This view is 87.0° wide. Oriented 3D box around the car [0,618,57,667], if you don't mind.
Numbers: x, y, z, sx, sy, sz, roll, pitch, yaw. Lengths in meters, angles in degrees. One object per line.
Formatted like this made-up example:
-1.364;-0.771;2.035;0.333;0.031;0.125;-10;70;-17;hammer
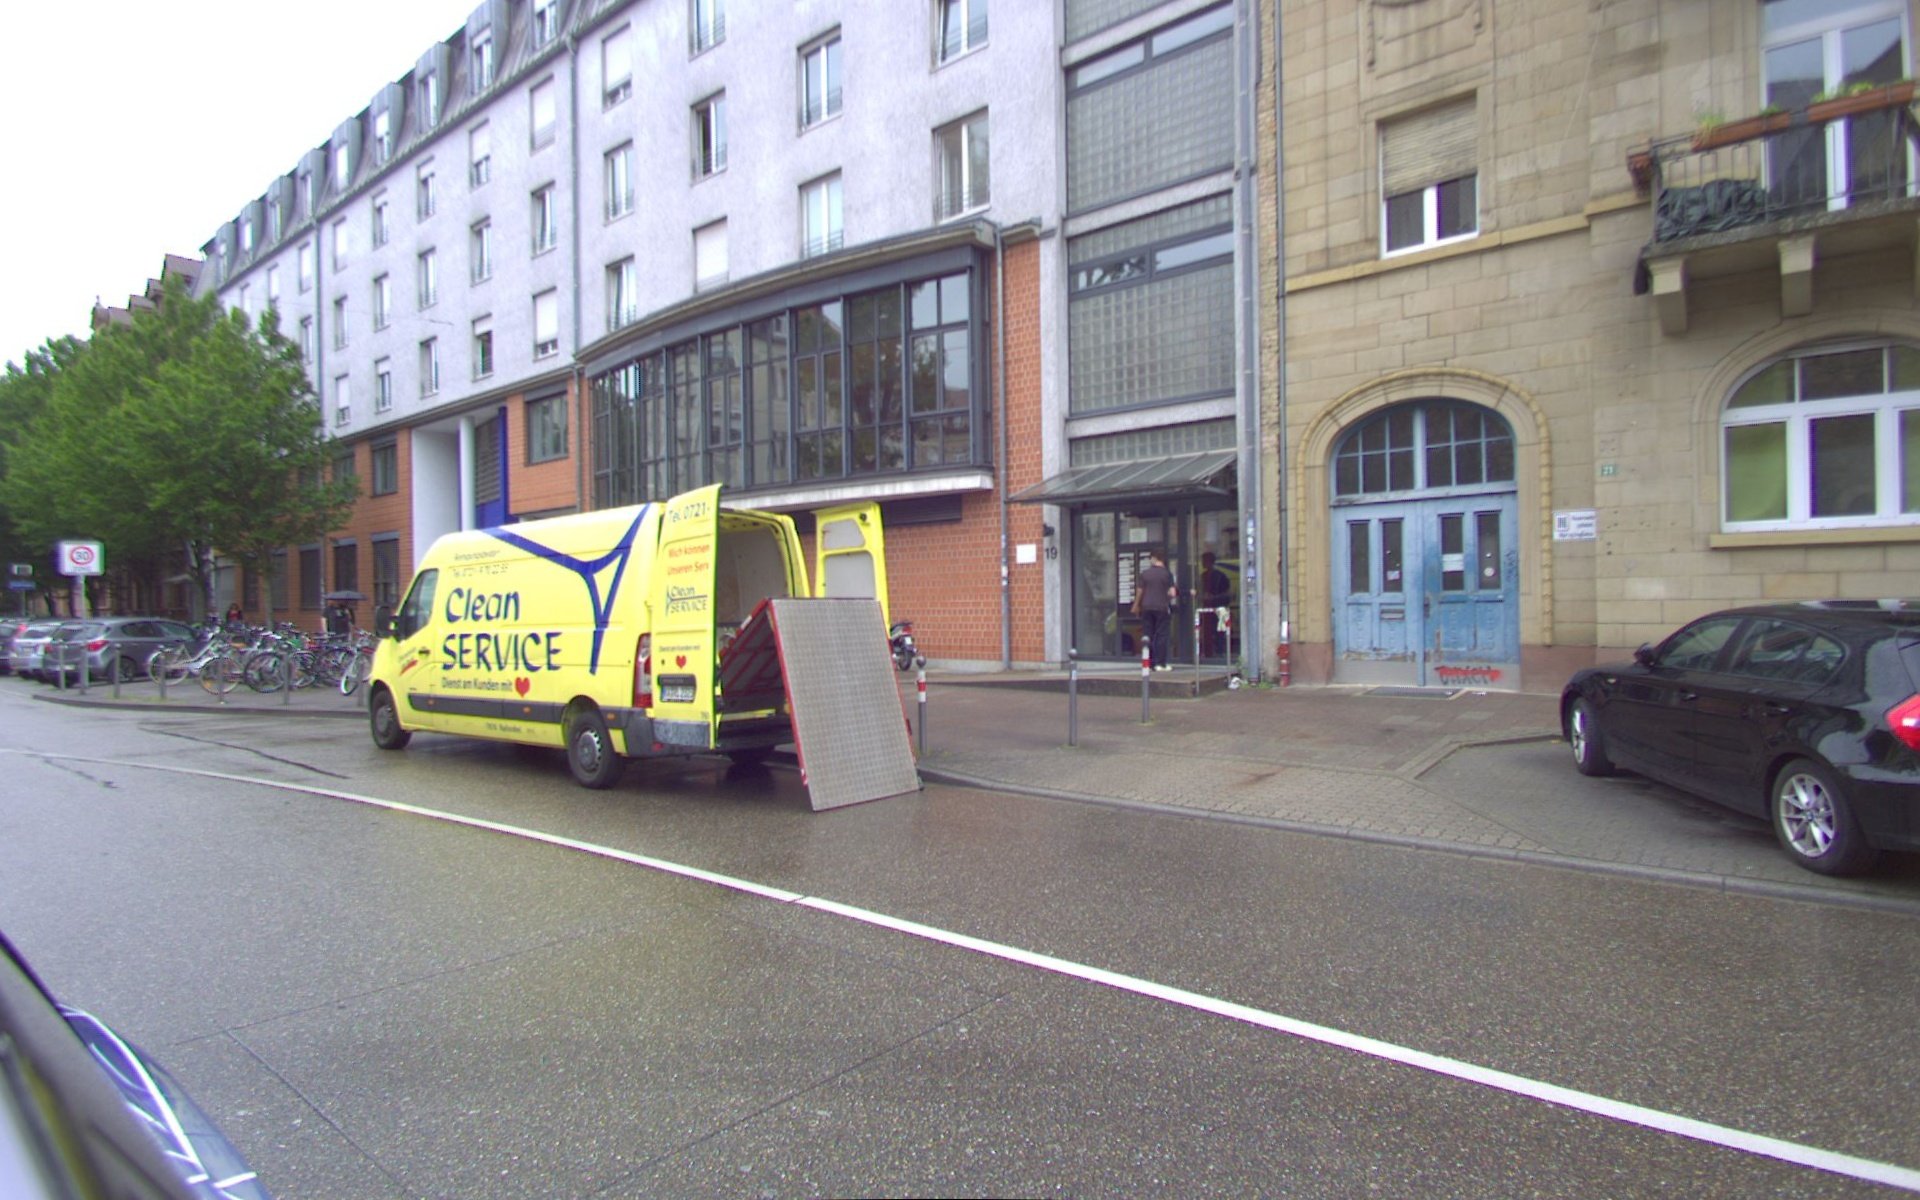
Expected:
-32.140;1.443;33.902;1.138;1.567;2.672;-2;0;11;car

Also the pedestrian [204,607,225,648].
-29.630;1.097;40.219;0.372;1.622;0.598;-1;-1;39;pedestrian

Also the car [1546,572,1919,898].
5.593;0.645;6.430;1.777;1.523;4.034;-1;-1;7;car

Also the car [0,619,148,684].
-23.351;1.309;26.679;1.432;1.514;3.078;-2;0;0;car

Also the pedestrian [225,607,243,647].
-29.114;1.078;40.573;0.425;1.622;0.508;-2;-1;41;pedestrian

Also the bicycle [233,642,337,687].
-13.614;1.288;20.467;0.455;0.767;1.757;-1;1;27;bicycle

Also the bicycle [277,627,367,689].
-12.393;1.111;19.673;1.439;1.111;0.462;-2;1;-36;bicycle

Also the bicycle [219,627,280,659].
-22.912;1.378;32.655;0.444;0.992;1.573;-1;-1;32;bicycle

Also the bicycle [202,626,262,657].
-24.367;1.389;33.899;0.444;0.992;1.573;-1;-1;32;bicycle

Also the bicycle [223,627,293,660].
-22.473;1.375;32.443;0.444;0.992;1.830;-1;-1;32;bicycle

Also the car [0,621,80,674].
-28.166;1.403;30.451;1.177;1.461;2.502;-2;0;0;car

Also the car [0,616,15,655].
-47.849;1.728;48.214;1.666;1.910;4.330;0;-1;-1;car

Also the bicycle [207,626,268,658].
-23.794;1.385;33.350;0.444;0.992;1.573;-1;-1;32;bicycle

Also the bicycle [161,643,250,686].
-16.240;1.373;21.800;0.497;0.811;1.454;-1;1;43;bicycle

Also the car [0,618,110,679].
-25.765;1.326;28.289;1.432;1.564;3.078;-2;0;0;car

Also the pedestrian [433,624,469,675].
-11.173;1.084;22.218;0.527;1.058;0.479;-2;3;39;pedestrian

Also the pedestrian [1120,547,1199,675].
2.844;0.158;14.397;0.785;1.741;0.997;-1;-1;31;pedestrian

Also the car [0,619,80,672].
-30.034;1.444;32.124;1.358;1.567;2.971;-2;0;11;car

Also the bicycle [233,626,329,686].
-14.049;1.137;20.975;0.517;1.114;1.596;-1;1;27;bicycle

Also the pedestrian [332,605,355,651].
-20.830;0.942;34.183;0.547;1.541;0.509;-1;-2;37;pedestrian

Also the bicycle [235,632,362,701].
-11.910;1.168;18.261;1.832;1.081;0.610;-2;1;-44;bicycle

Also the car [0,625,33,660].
-42.561;1.859;43.916;1.662;1.502;3.798;0;-1;-10;car

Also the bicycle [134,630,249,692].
-15.703;1.219;20.725;0.472;1.114;1.791;-1;1;35;bicycle

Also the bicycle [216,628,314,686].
-14.612;1.174;21.314;0.519;1.114;1.591;-1;1;36;bicycle

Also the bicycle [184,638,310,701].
-12.911;1.232;18.368;0.519;1.000;1.778;-1;1;38;bicycle

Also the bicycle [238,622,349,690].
-13.181;1.079;20.072;0.517;1.203;1.798;-1;1;27;bicycle

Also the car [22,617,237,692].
-18.960;1.185;23.308;1.720;1.514;3.614;-1;0;9;car

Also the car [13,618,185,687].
-21.255;1.255;25.122;1.436;1.514;3.070;-2;0;9;car

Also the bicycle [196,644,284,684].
-15.463;1.369;21.749;0.497;0.727;1.454;-1;1;43;bicycle

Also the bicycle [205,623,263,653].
-24.704;1.281;34.468;0.444;0.992;1.573;-1;-1;32;bicycle

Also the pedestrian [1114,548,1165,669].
2.672;0.135;15.115;0.467;1.761;0.608;0;-2;-24;pedestrian

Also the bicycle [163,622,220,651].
-27.607;1.305;36.358;0.464;0.992;1.573;-1;-1;32;bicycle

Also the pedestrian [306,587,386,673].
-14.428;0.683;23.794;1.055;1.894;1.213;-2;3;40;pedestrian

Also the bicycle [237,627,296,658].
-22.928;1.389;33.482;0.444;0.992;1.573;-1;-1;32;bicycle

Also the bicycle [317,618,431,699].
-10.326;1.001;17.930;0.760;1.225;1.917;0;2;5;bicycle

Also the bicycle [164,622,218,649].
-28.867;1.320;38.012;0.464;0.992;1.573;-1;-1;32;bicycle

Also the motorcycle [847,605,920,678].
-1.363;0.704;17.748;0.516;1.190;1.763;-2;0;-30;motorcycle

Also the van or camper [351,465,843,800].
-4.085;0.322;10.678;5.936;2.631;2.174;-1;-2;40;van or camper

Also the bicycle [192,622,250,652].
-25.660;1.289;35.140;0.464;0.992;1.573;-1;-1;32;bicycle

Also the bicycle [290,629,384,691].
-11.789;1.118;19.190;0.418;1.072;1.442;-1;1;44;bicycle

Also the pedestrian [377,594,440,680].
-11.660;0.771;21.403;0.859;1.719;0.817;-2;3;41;pedestrian
